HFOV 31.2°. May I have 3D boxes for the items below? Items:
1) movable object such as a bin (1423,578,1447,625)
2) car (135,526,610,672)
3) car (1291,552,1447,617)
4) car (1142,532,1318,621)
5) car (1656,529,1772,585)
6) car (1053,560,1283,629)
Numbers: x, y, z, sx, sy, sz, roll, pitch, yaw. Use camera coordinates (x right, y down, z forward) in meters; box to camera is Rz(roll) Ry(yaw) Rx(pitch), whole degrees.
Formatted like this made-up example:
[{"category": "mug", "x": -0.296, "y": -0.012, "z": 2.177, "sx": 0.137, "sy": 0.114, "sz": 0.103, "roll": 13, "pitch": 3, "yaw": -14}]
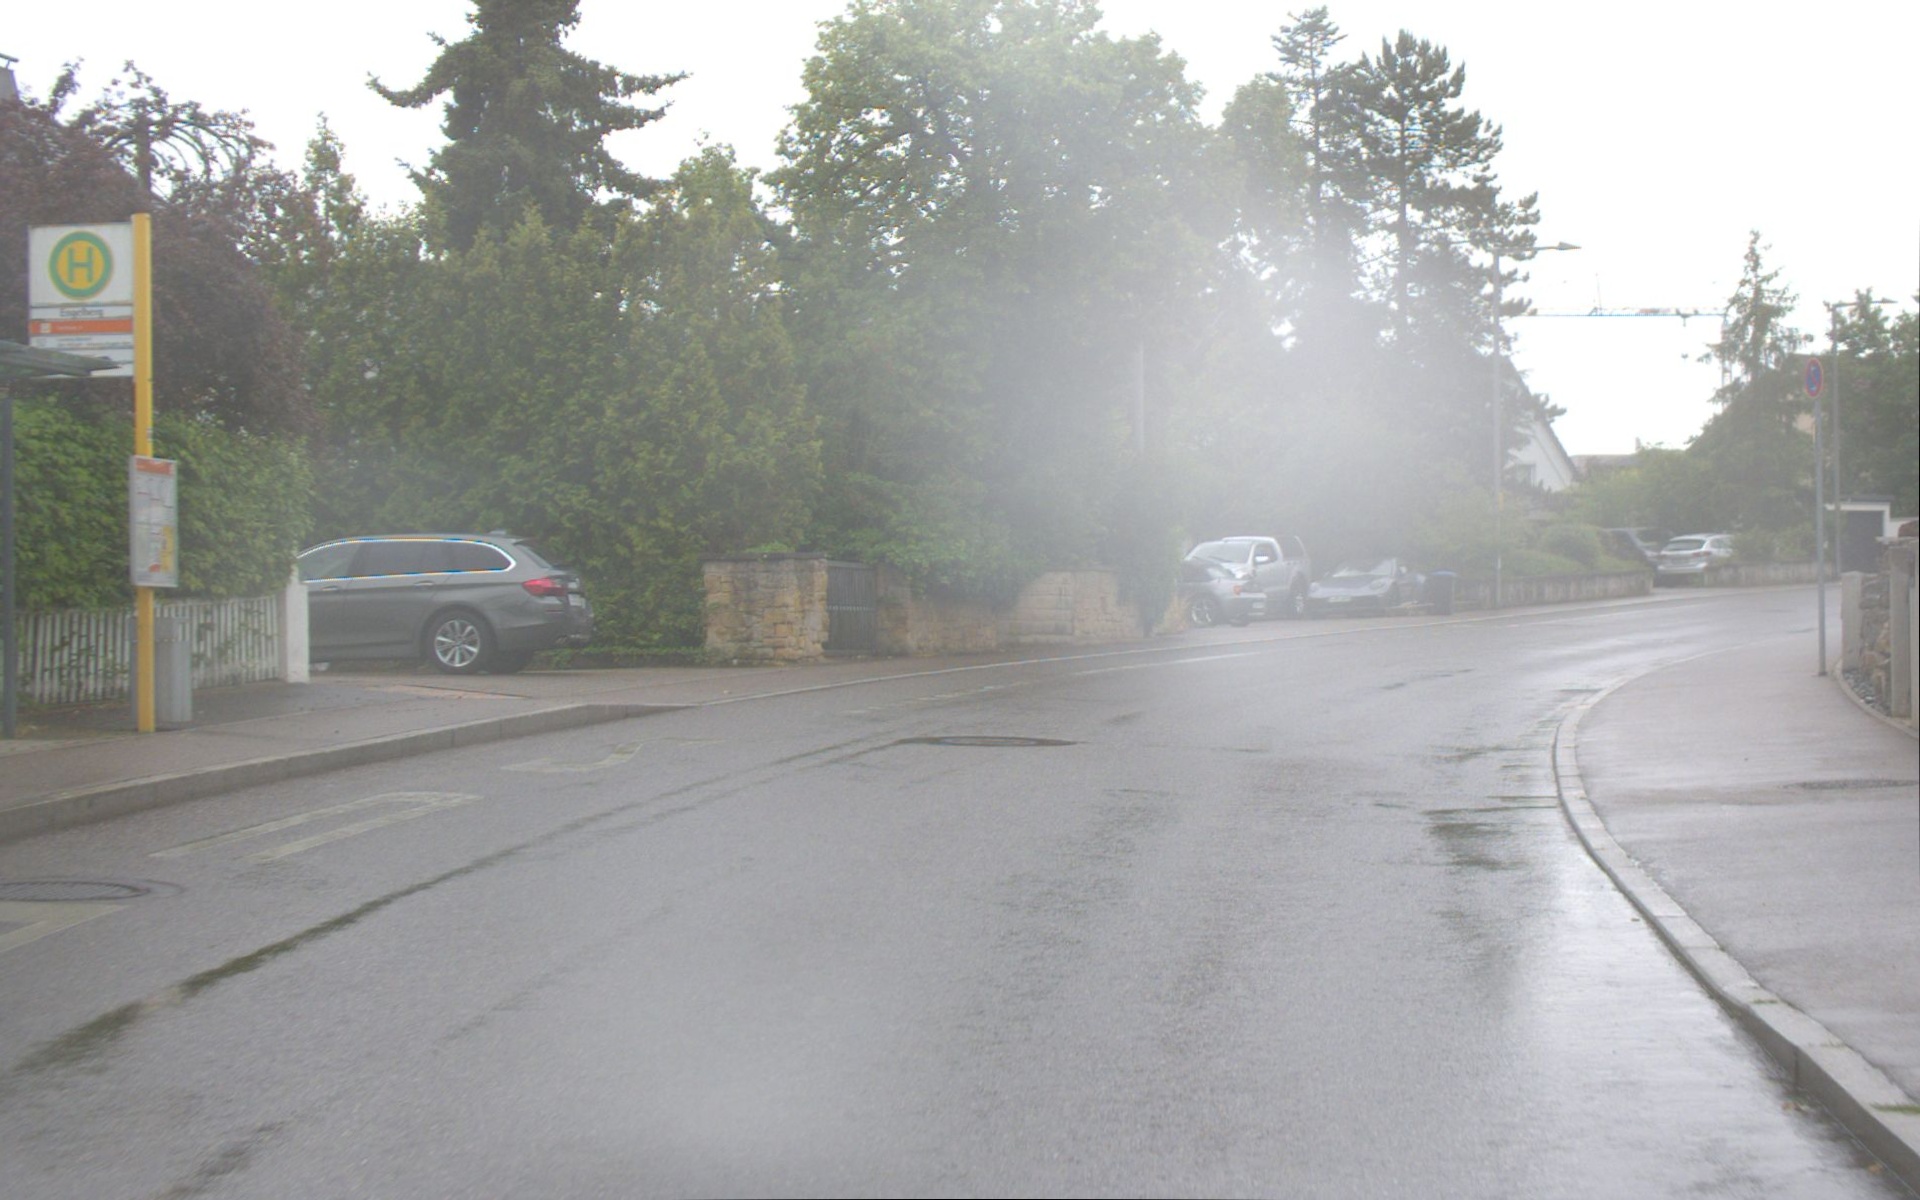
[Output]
[{"category": "movable object such as a bin", "x": 10.044, "y": 0.025, "z": 72.704, "sx": 0.370, "sy": 0.985, "sz": 0.558, "roll": -1, "pitch": 1, "yaw": 22}, {"category": "car", "x": -6.059, "y": -0.026, "z": 35.716, "sx": 4.541, "sy": 1.471, "sz": 1.839, "roll": 0, "pitch": 1, "yaw": 6}, {"category": "car", "x": 8.841, "y": -0.344, "z": 74.058, "sx": 1.996, "sy": 1.303, "sz": 4.427, "roll": -1, "pitch": 1, "yaw": 25}, {"category": "car", "x": 5.900, "y": -0.532, "z": 74.379, "sx": 1.996, "sy": 1.837, "sz": 5.471, "roll": 0, "pitch": 1, "yaw": 25}, {"category": "car", "x": 21.891, "y": -1.253, "z": 99.705, "sx": 1.738, "sy": 1.546, "sz": 3.992, "roll": -1, "pitch": 1, "yaw": 37}, {"category": "car", "x": 3.999, "y": -0.111, "z": 66.133, "sx": 3.993, "sy": 1.267, "sz": 1.871, "roll": 0, "pitch": 1, "yaw": 29}]
